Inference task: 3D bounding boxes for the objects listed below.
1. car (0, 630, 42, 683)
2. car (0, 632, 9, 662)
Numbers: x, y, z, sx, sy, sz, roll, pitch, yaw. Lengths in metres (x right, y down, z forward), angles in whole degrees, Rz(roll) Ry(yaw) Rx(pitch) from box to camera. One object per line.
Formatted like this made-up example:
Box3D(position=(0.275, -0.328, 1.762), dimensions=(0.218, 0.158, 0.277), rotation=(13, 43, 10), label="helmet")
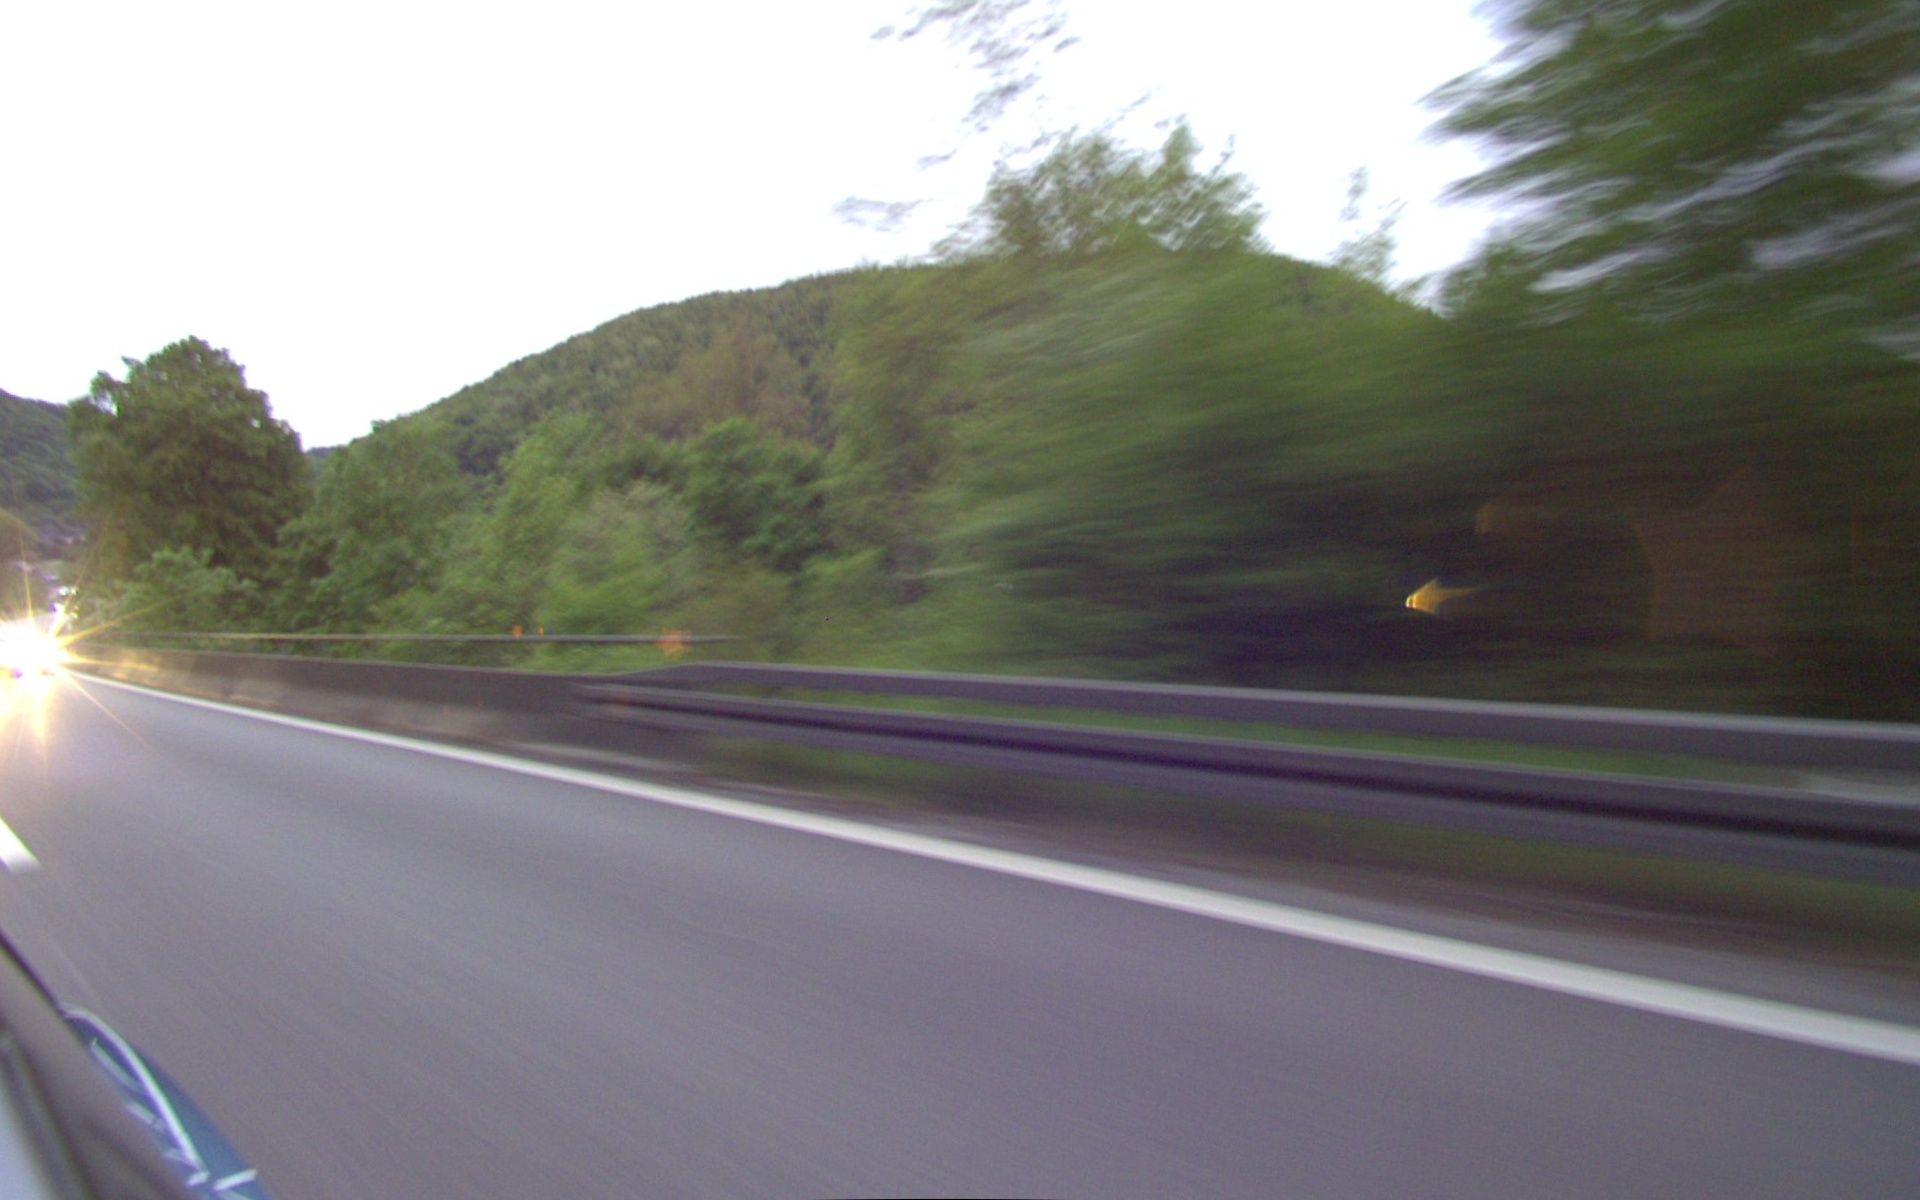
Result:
Box3D(position=(-28.883, 1.687, 30.479), dimensions=(1.667, 1.479, 3.769), rotation=(-1, -1, -45), label="car")
Box3D(position=(-49.718, 2.394, 51.579), dimensions=(3.669, 1.444, 1.667), rotation=(-1, 0, 44), label="car")
